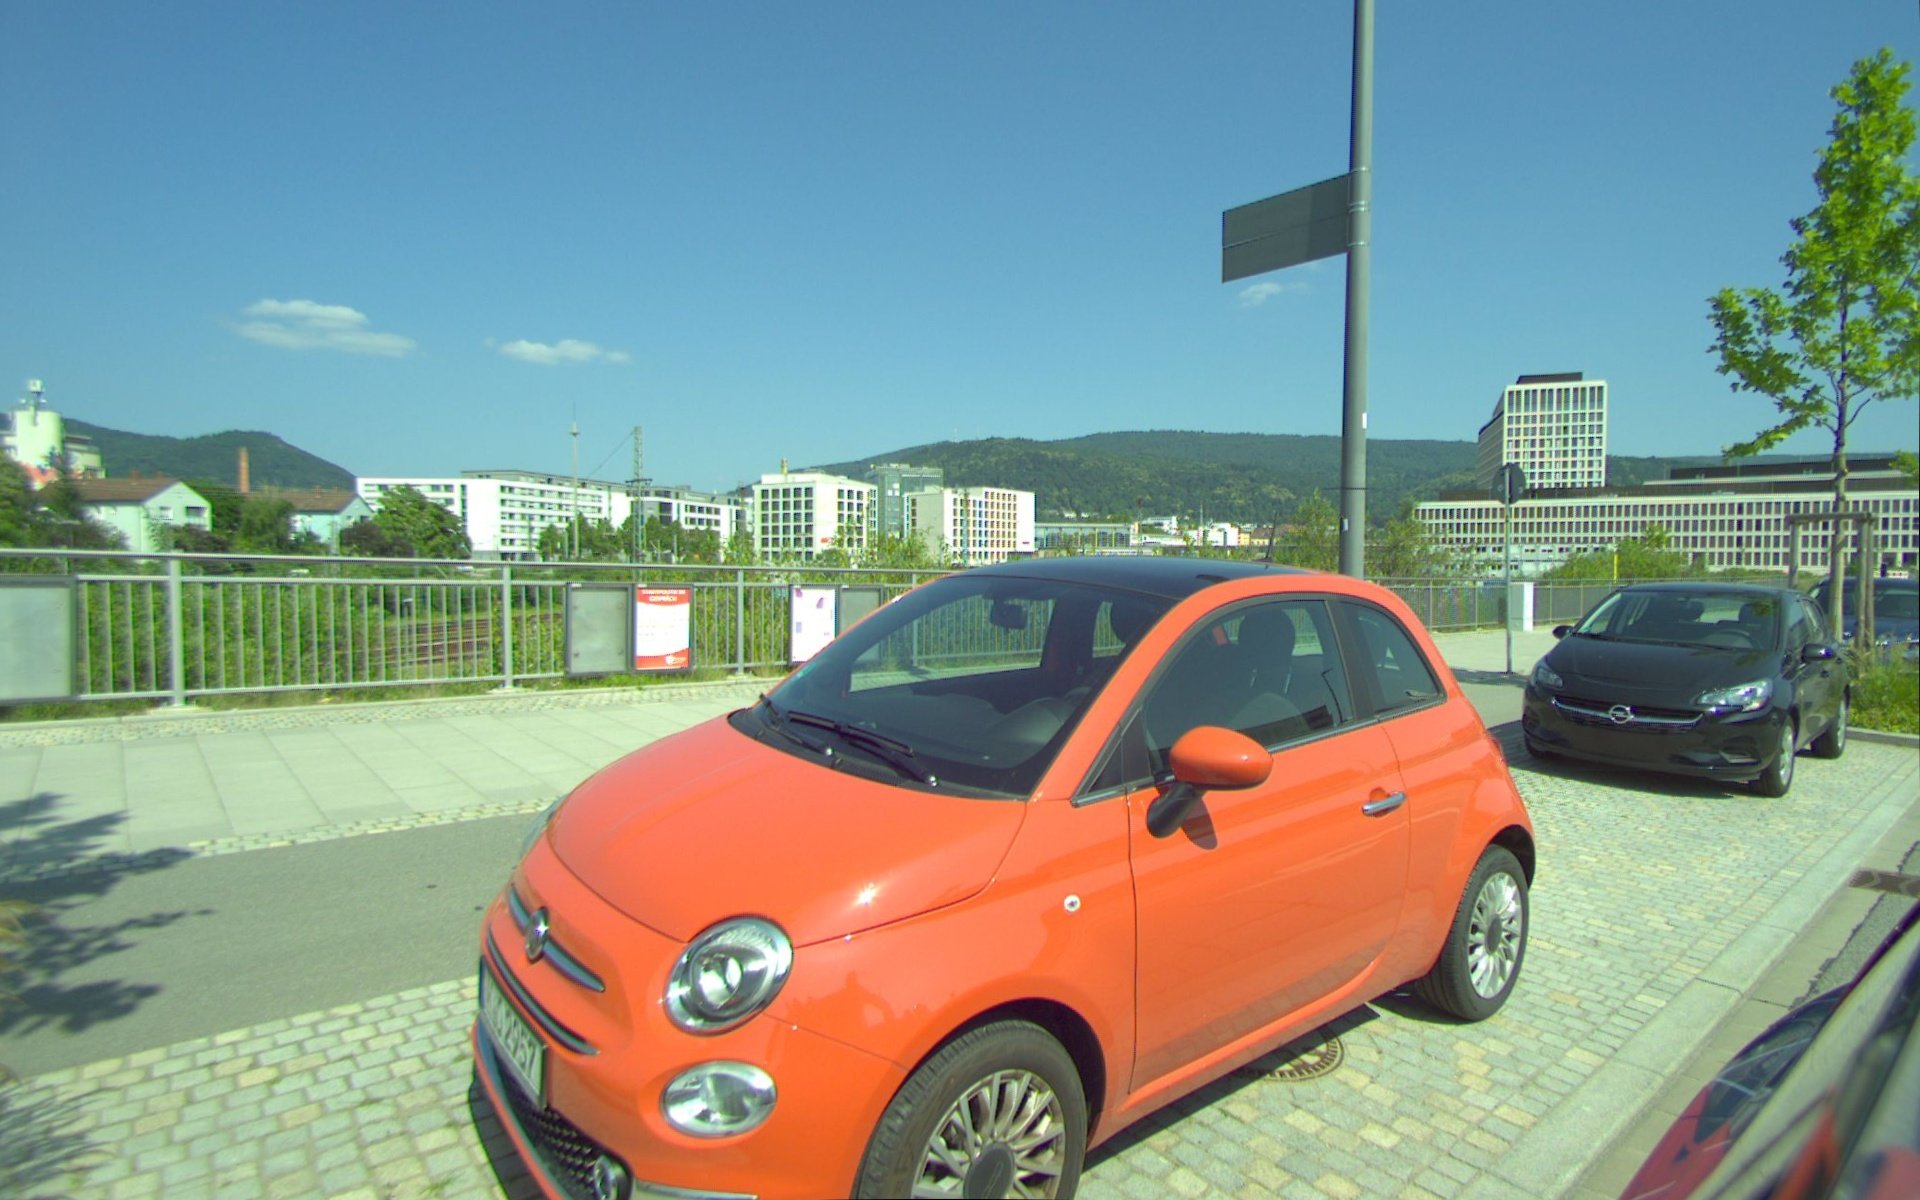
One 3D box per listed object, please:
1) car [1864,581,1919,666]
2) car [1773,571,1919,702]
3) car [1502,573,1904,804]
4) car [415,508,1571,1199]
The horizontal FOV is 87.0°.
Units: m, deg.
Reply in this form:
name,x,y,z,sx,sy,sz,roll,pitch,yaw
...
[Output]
name,x,y,z,sx,sy,sz,roll,pitch,yaw
car,18.357,0.388,18.885,3.929,1.473,1.663,-1,1,-40
car,13.175,0.414,14.362,4.163,1.627,1.768,-1,1,-40
car,6.251,0.521,8.369,3.927,1.444,1.665,-1,3,-38
car,0.314,0.570,3.128,3.291,1.515,1.615,0,3,-39
